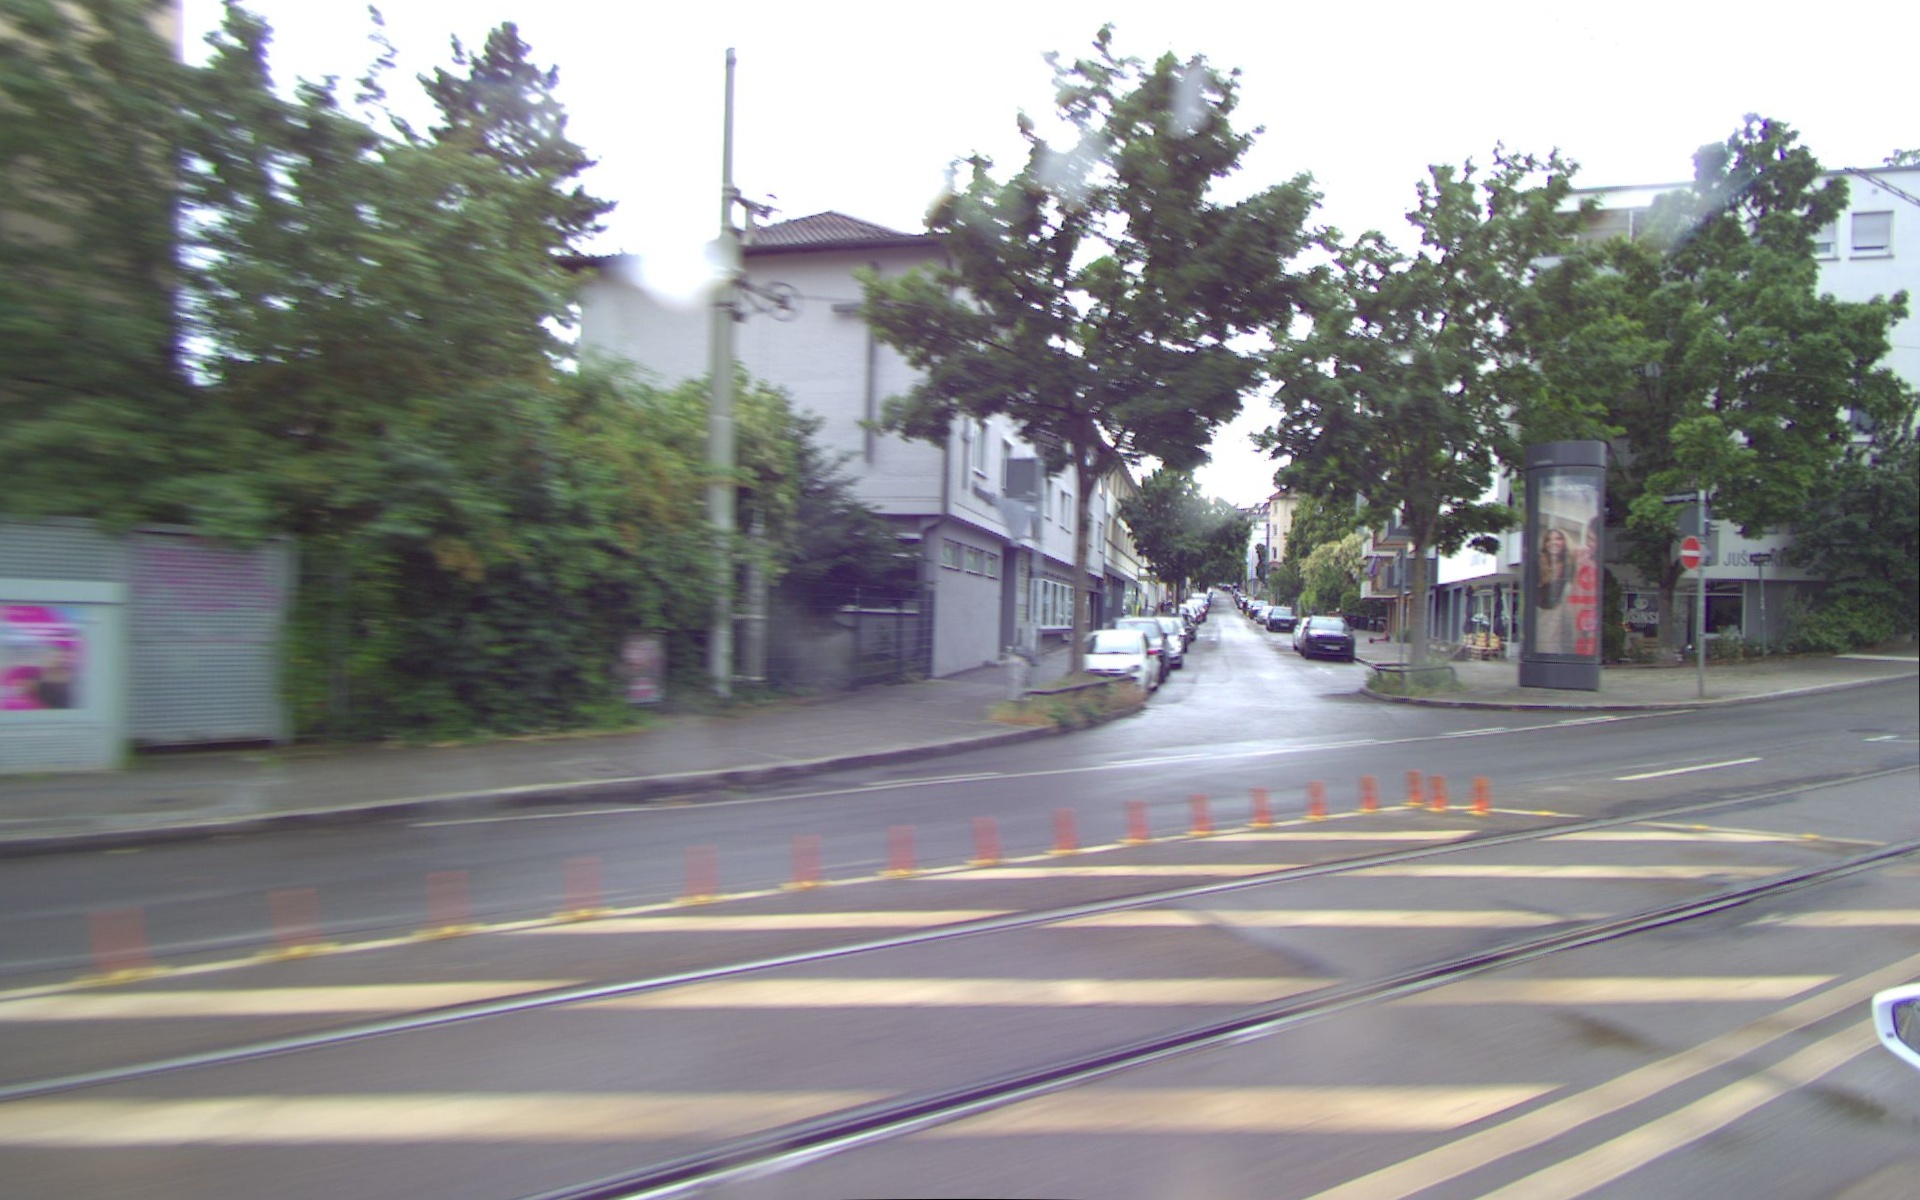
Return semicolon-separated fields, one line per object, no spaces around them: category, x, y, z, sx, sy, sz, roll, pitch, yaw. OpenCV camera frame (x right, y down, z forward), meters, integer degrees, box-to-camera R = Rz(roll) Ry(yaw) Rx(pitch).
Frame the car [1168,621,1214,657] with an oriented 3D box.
car;11.117;1.849;48.127;1.854;1.550;4.002;3;-1;17

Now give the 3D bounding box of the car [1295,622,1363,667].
car;14.165;1.687;38.768;1.959;1.538;4.002;3;-1;13

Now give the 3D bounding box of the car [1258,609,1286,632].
car;26.351;1.751;84.929;1.959;1.840;4.002;3;0;13

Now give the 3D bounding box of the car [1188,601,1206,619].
car;29.321;1.239;124.295;1.959;2.040;4.002;3;0;13

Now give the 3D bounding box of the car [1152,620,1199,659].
car;9.155;1.634;42.503;1.805;1.514;4.204;2;-1;14

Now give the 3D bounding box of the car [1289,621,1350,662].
car;15.760;1.760;44.257;1.959;1.617;4.676;3;-1;13

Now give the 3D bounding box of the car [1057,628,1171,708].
car;3.563;1.425;22.546;1.960;1.500;4.162;3;-1;16

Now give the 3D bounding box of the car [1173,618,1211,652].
car;12.375;1.836;53.488;1.805;1.664;4.204;2;-1;14

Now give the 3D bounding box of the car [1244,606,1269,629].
car;28.149;1.667;95.471;1.959;2.040;4.002;3;0;13

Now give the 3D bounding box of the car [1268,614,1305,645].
car;21.343;1.935;65.783;1.959;1.884;4.002;3;0;13

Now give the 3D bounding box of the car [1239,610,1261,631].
car;29.850;2.075;103.539;1.959;2.040;4.002;3;0;13

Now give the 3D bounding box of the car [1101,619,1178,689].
car;5.126;1.432;28.266;1.805;1.728;4.643;2;-1;14

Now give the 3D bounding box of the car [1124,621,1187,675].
car;6.556;1.548;33.436;1.805;1.600;4.176;2;-1;14
